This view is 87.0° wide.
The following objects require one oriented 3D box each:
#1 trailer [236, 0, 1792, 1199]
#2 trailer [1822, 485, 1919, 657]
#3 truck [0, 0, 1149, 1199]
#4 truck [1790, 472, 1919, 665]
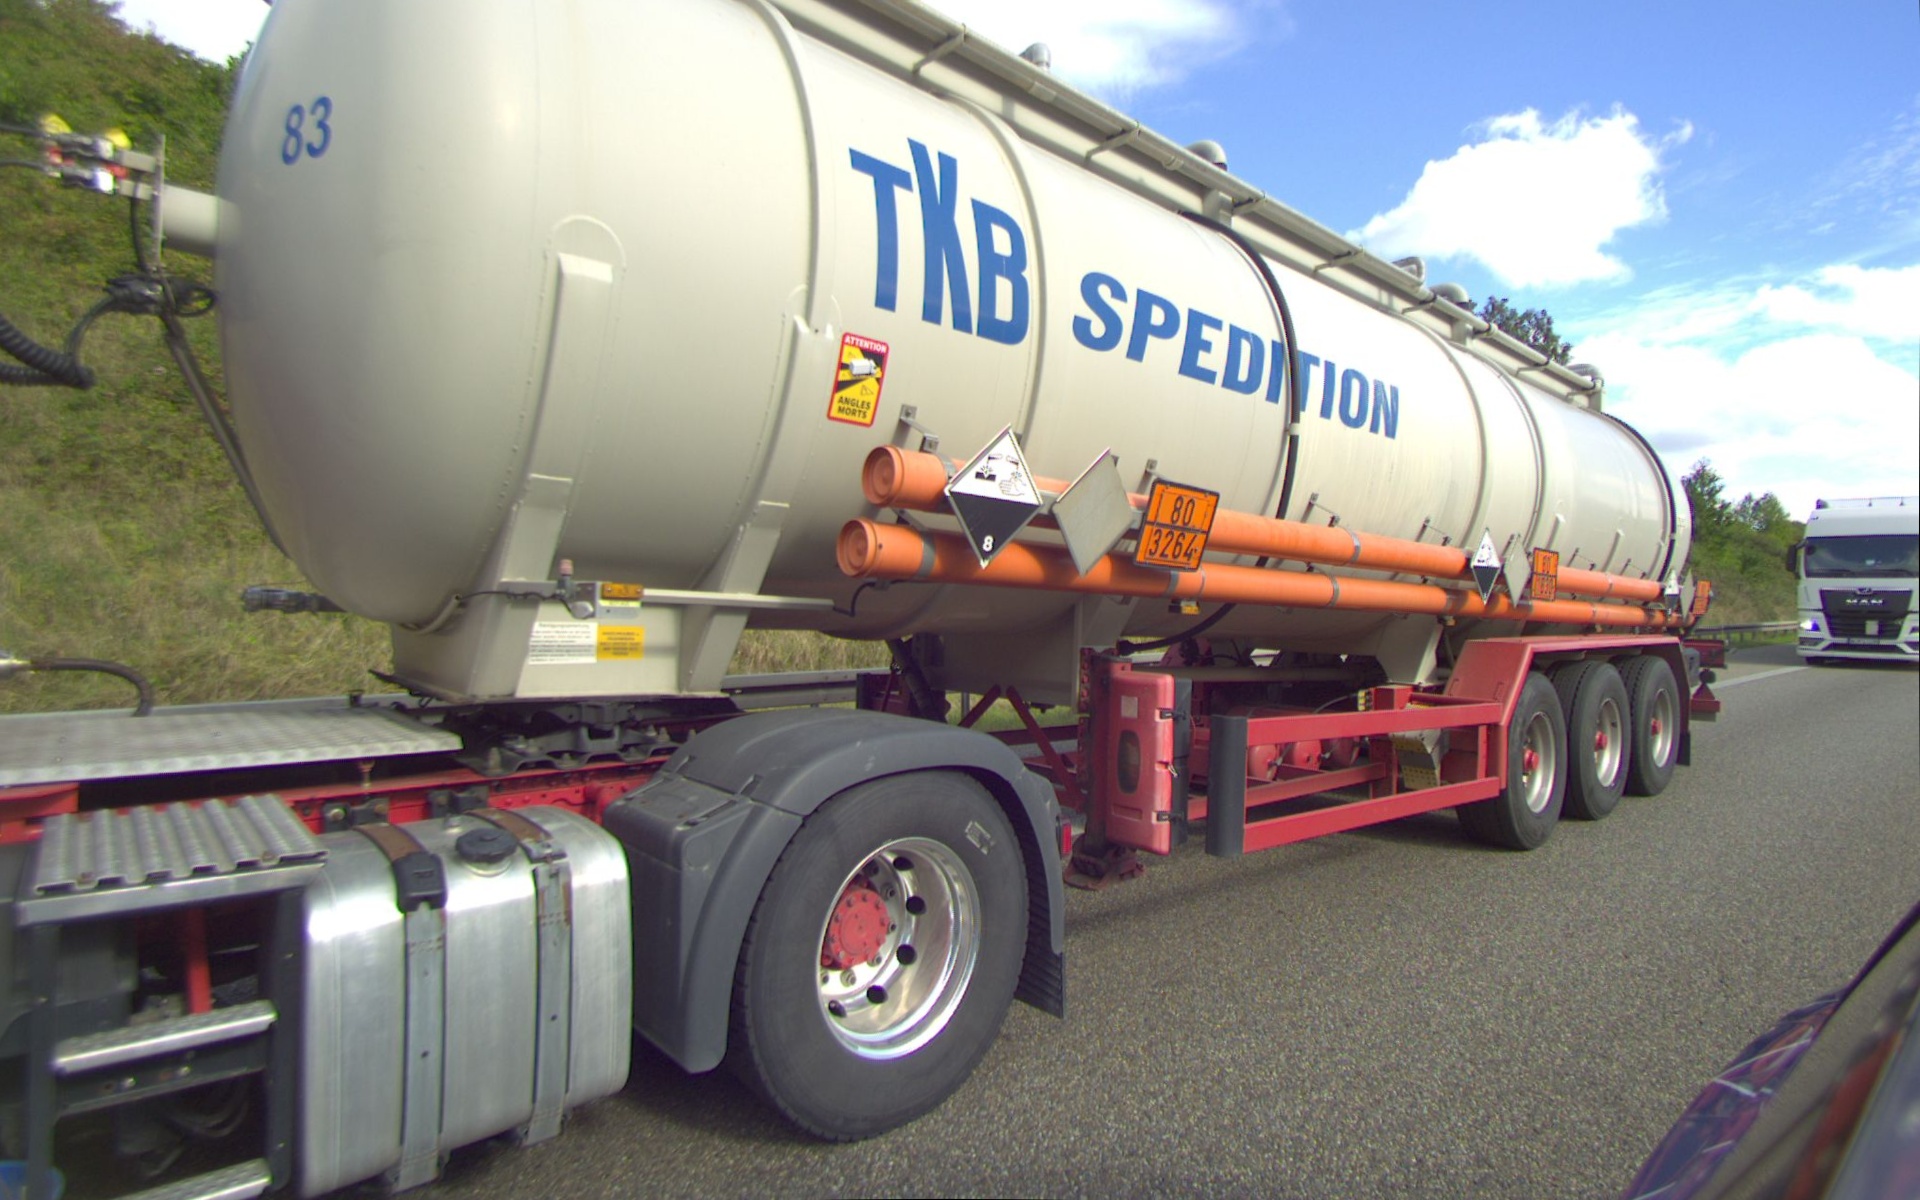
[{"bbox_3d":[2.247,-0.675,6.444,10.984,4.077,2.804,0,1,-40],"label":"trailer"},{"bbox_3d":[27.824,-0.719,28.864,13.135,4.122,2.831,0,1,-40],"label":"trailer"},{"bbox_3d":[-2.517,-0.675,2.376,5.799,4.094,2.808,0,1,-40],"label":"truck"},{"bbox_3d":[22.185,-0.688,24.047,5.606,4.122,2.839,0,1,-40],"label":"truck"}]
